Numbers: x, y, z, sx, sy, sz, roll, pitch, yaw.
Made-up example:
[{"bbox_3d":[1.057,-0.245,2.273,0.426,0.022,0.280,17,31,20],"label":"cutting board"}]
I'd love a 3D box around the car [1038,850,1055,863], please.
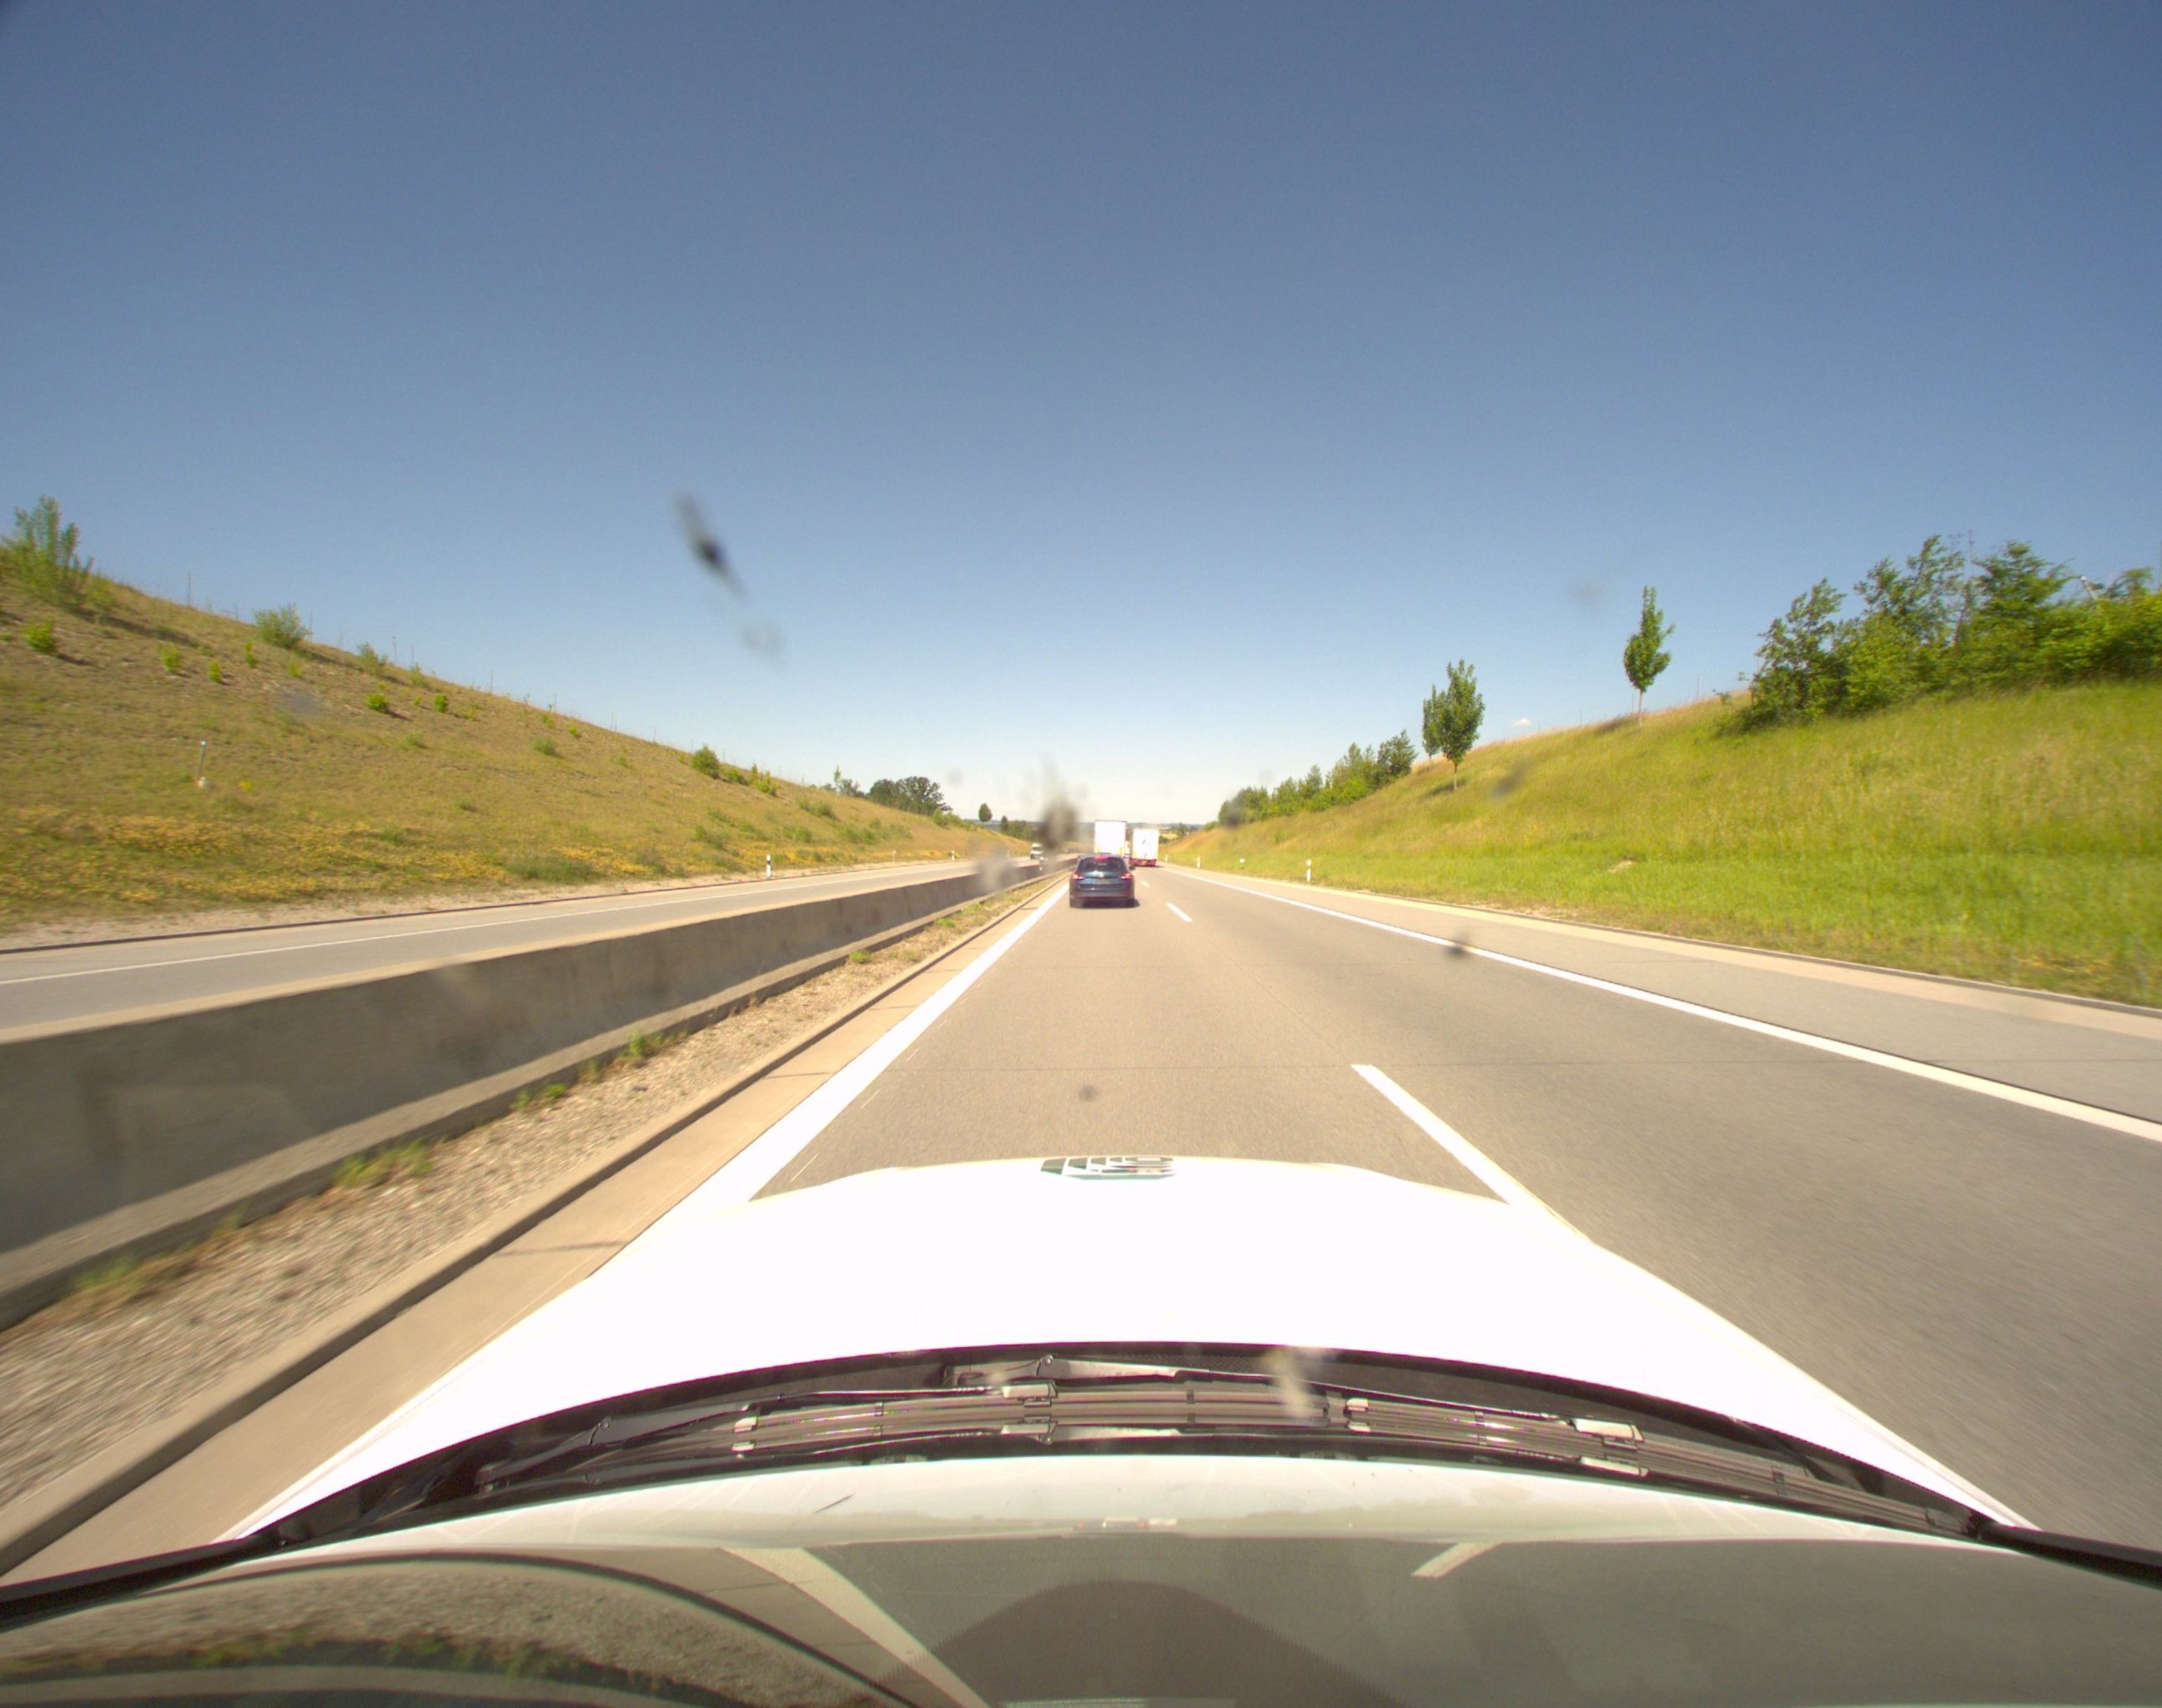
[{"bbox_3d":[-3.910,0.296,93.500,1.768,1.449,4.183,0,0,0],"label":"car"}]

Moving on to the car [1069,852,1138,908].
[{"bbox_3d":[0.623,0.673,23.156,1.770,1.441,3.789,-1,0,1],"label":"car"}]

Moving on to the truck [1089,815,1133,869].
[{"bbox_3d":[2.794,-1.019,71.761,3.195,4.381,11.249,0,0,5],"label":"truck"}]

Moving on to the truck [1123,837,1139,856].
[{"bbox_3d":[12.014,-1.855,194.183,3.587,4.381,11.248,0,0,5],"label":"truck"}]

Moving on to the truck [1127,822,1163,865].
[{"bbox_3d":[6.997,-1.093,88.824,3.587,4.381,11.248,0,0,5],"label":"truck"}]

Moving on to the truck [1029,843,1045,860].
[{"bbox_3d":[-6.826,-0.386,126.753,1.986,2.448,5.670,1,0,1],"label":"truck"}]
